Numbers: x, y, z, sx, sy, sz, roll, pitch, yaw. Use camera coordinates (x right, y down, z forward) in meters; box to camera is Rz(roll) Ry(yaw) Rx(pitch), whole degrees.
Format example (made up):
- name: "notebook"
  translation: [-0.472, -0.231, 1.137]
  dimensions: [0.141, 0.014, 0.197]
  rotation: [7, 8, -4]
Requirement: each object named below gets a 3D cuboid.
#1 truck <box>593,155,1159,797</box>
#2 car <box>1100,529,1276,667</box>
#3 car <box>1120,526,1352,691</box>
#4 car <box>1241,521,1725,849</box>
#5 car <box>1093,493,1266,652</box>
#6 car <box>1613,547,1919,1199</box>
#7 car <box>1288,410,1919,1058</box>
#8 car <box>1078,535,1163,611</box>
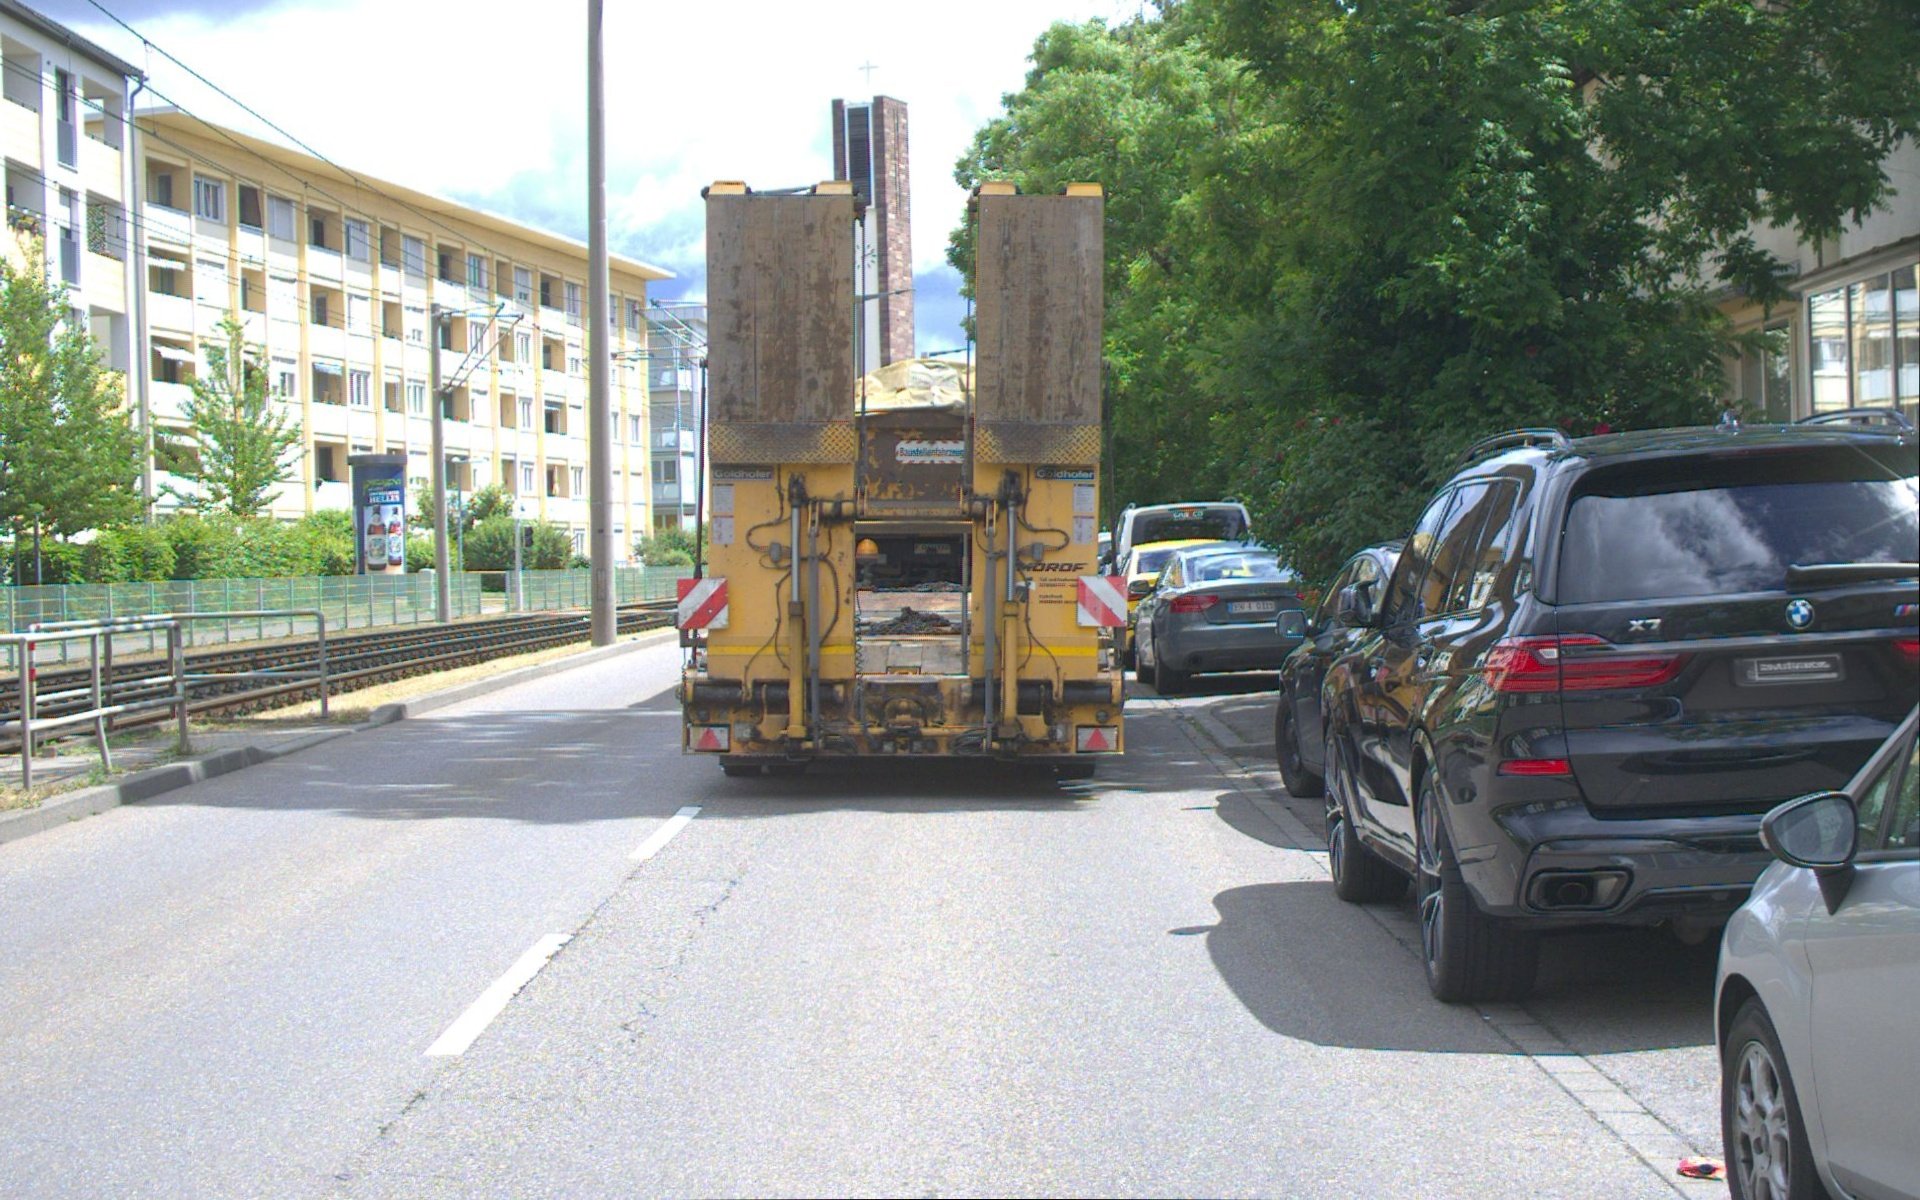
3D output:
- name: "truck"
  translation: [-0.448, -0.804, 25.468]
  dimensions: [3.124, 3.552, 12.460]
  rotation: [-1, 1, 0]
- name: "car"
  translation: [2.604, -0.055, 40.028]
  dimensions: [1.755, 1.437, 4.341]
  rotation: [-2, 1, 1]
- name: "car"
  translation: [2.595, 0.044, 33.240]
  dimensions: [1.755, 1.437, 4.494]
  rotation: [-2, 1, -1]
- name: "car"
  translation: [2.666, 0.372, 18.489]
  dimensions: [1.834, 1.500, 4.243]
  rotation: [-2, 1, -1]
- name: "car"
  translation: [2.895, -0.392, 46.441]
  dimensions: [1.914, 1.952, 5.745]
  rotation: [-2, 1, 0]
- name: "car"
  translation: [2.439, 0.612, 5.633]
  dimensions: [1.771, 1.437, 3.900]
  rotation: [-3, 1, -2]
- name: "car"
  translation: [2.394, 0.328, 12.192]
  dimensions: [2.015, 1.782, 5.076]
  rotation: [-2, 1, 1]
- name: "car"
  translation: [3.804, -0.655, 80.720]
  dimensions: [1.824, 1.676, 4.575]
  rotation: [-2, 1, 4]
